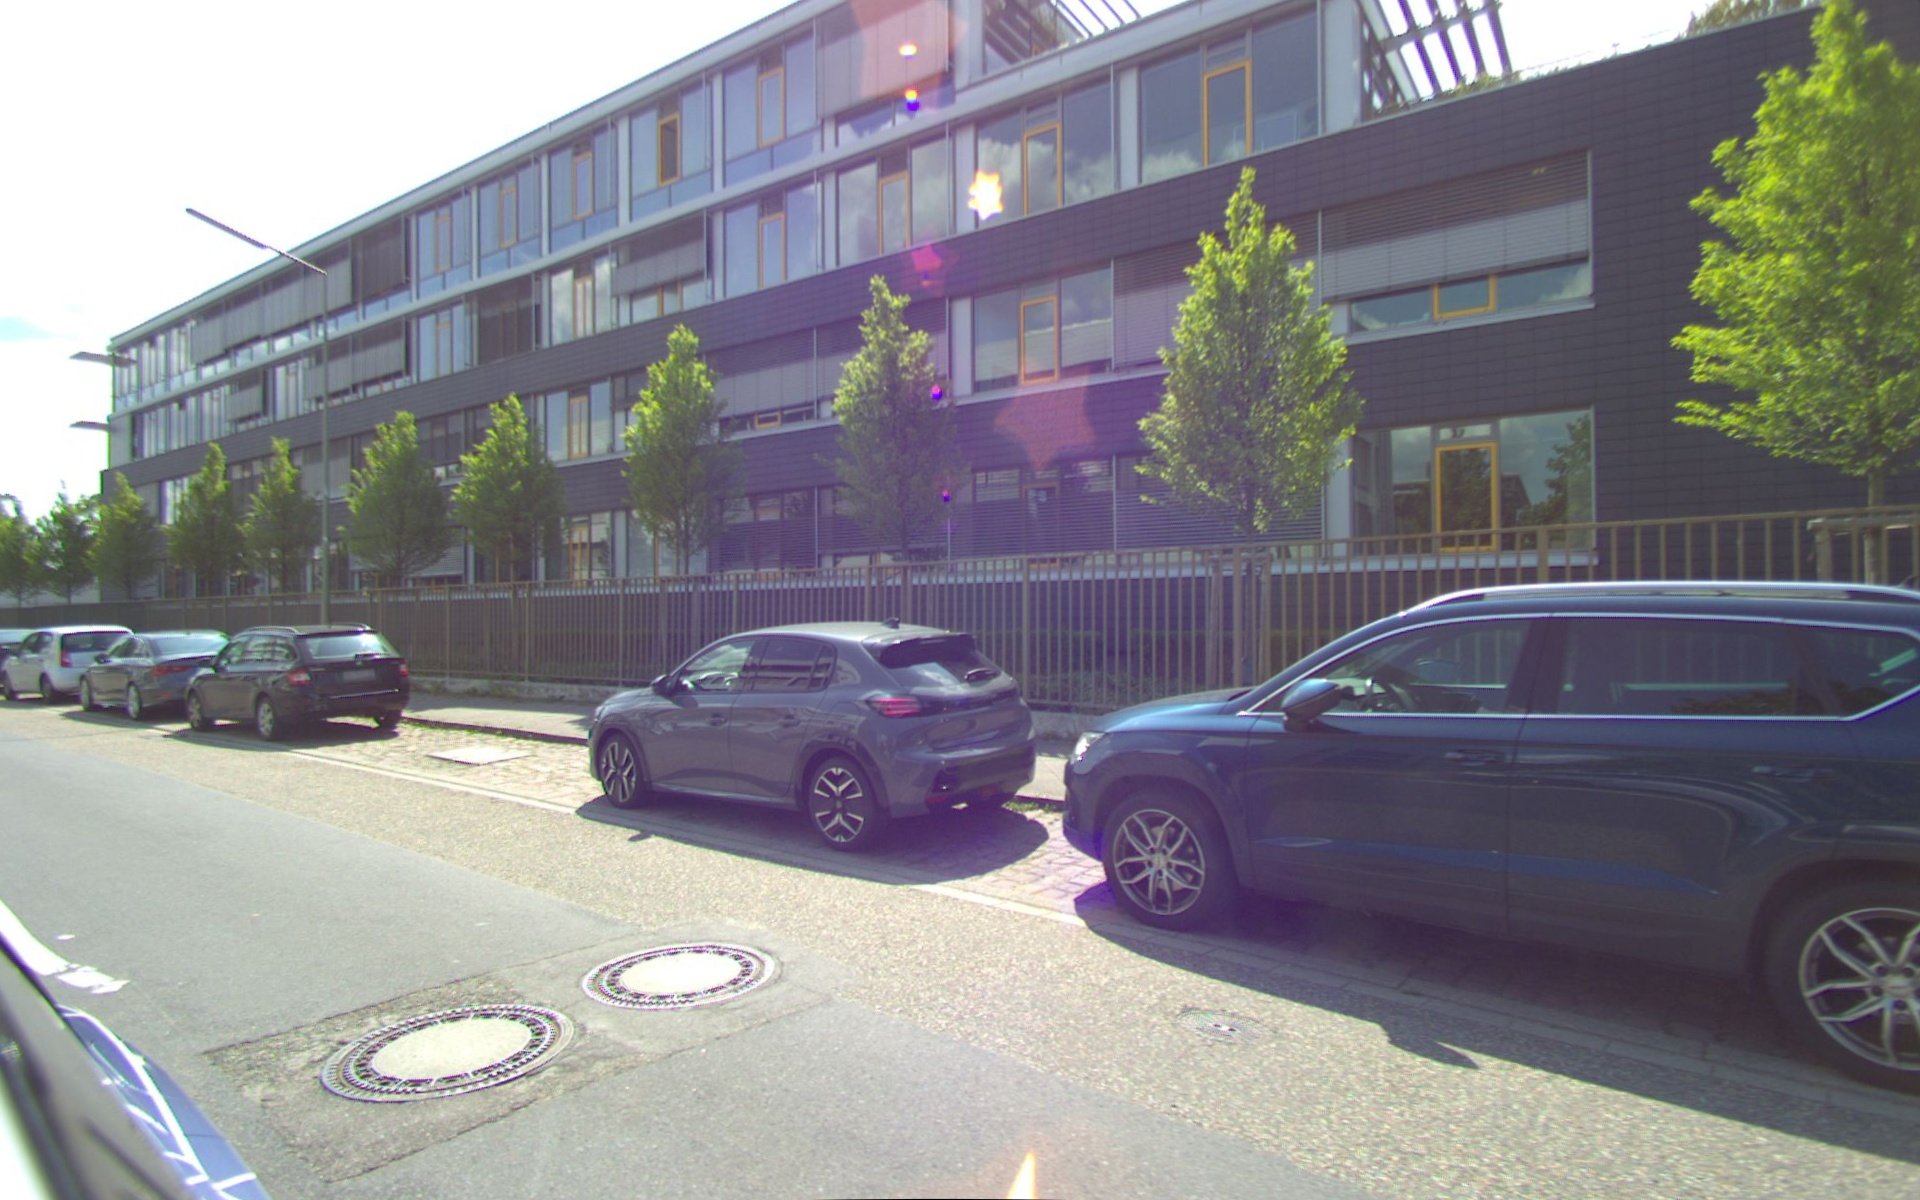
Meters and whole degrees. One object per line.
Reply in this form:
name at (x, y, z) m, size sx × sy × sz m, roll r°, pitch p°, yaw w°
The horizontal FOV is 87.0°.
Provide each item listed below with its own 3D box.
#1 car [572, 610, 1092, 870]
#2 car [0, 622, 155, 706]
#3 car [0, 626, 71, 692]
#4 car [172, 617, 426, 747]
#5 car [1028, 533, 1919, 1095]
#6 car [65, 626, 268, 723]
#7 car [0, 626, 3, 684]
car at (-1.133, 0.859, 7.799) m, size 3.926 × 1.456 × 1.717 m, roll -1°, pitch 1°, yaw 39°
car at (-18.110, 1.250, 20.590) m, size 3.505 × 1.493 × 1.649 m, roll -1°, pitch 1°, yaw 33°
car at (-22.424, 1.339, 23.537) m, size 3.989 × 1.415 × 1.652 m, roll -1°, pitch 0°, yaw 34°
car at (-9.396, 1.068, 14.294) m, size 3.991 × 1.542 × 1.647 m, roll -2°, pitch 0°, yaw 36°
car at (2.540, 0.645, 4.405) m, size 4.308 × 1.668 × 1.716 m, roll -1°, pitch 0°, yaw 41°
car at (-13.702, 1.192, 17.414) m, size 4.096 × 1.407 × 1.647 m, roll -1°, pitch 1°, yaw 36°
car at (-26.523, 1.431, 26.362) m, size 3.734 × 1.466 × 1.550 m, roll -1°, pitch -2°, yaw 35°
